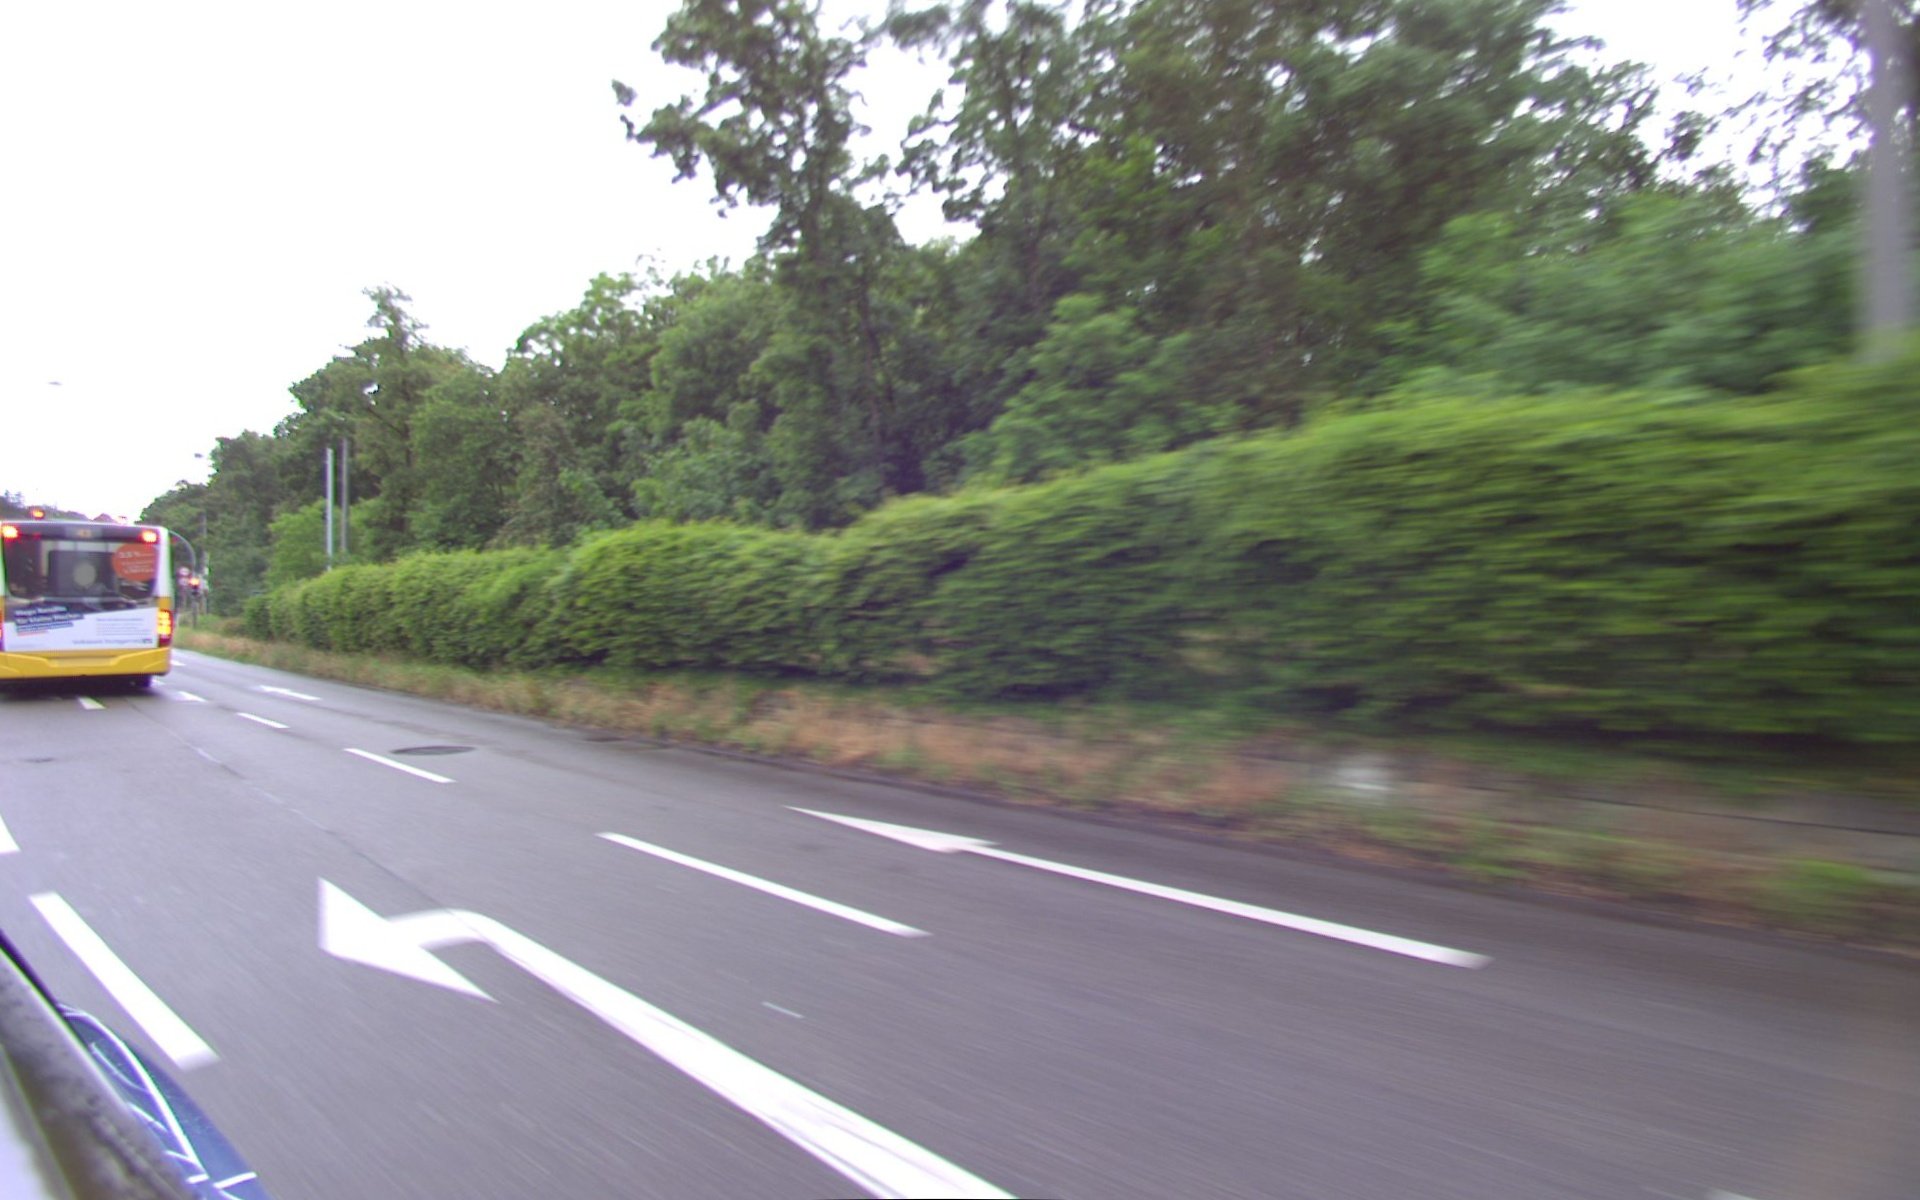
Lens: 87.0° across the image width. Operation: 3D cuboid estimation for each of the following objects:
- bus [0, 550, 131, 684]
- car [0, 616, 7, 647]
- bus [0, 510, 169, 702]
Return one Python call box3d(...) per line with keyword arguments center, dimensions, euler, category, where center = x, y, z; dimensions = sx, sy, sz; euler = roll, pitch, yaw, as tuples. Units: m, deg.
box3d(center=(-24.285, 0.438, 27.069), dimensions=(2.612, 3.067, 9.238), euler=(0, -1, -43), category="bus")
box3d(center=(-49.154, 1.569, 48.998), dimensions=(1.983, 1.541, 3.977), euler=(0, -1, 17), category="car")
box3d(center=(-18.179, 0.143, 20.525), dimensions=(2.564, 3.182, 8.643), euler=(0, -1, -43), category="bus")
